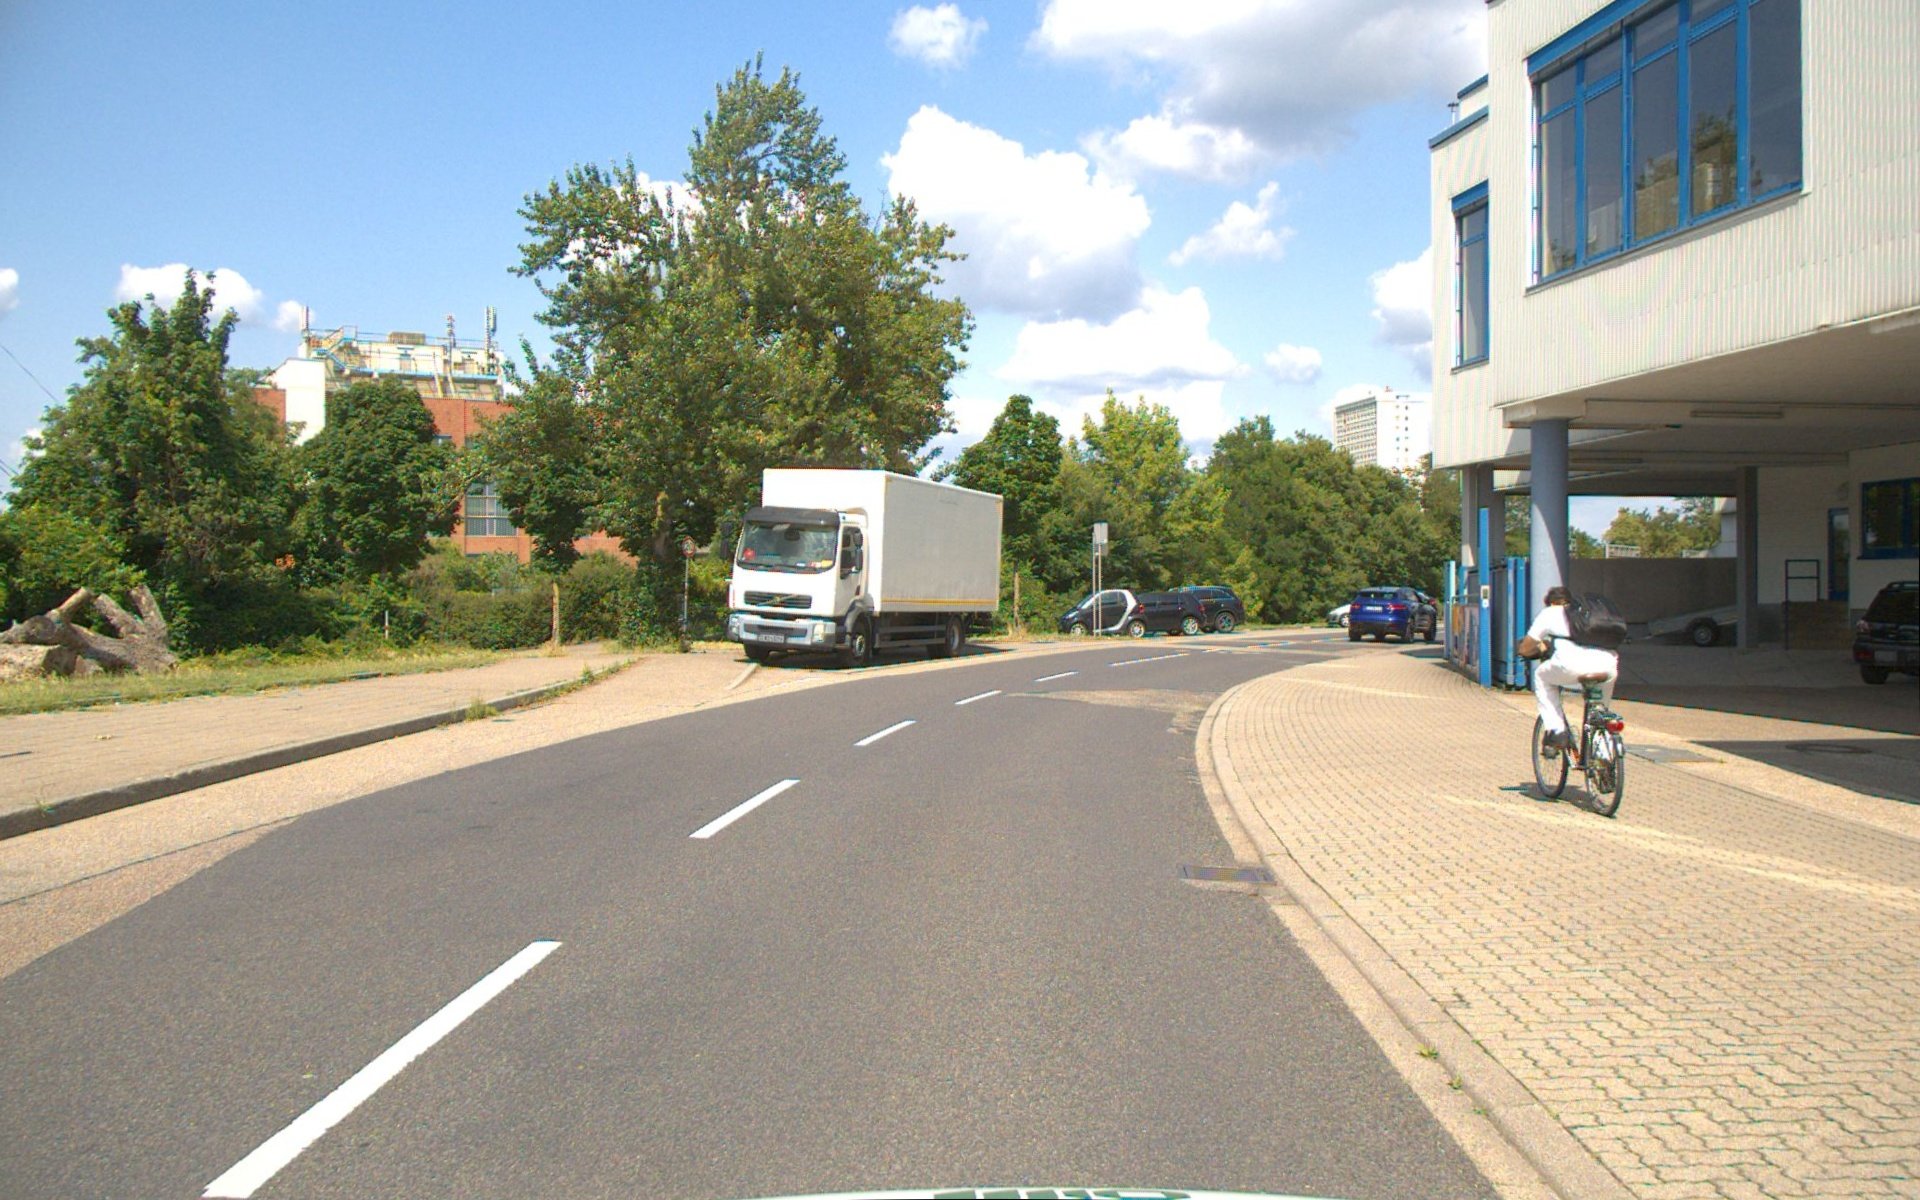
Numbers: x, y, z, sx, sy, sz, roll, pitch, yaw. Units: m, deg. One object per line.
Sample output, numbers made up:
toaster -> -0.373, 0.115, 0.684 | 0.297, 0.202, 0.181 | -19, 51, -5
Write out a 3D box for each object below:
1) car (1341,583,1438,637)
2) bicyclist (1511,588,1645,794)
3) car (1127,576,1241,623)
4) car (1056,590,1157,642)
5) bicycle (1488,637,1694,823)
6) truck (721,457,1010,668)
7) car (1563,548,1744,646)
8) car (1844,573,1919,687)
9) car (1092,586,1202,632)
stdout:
car -> 13.466, 0.304, 51.675 | 1.873, 1.621, 4.693 | 0, 0, 29
bicyclist -> 4.404, 0.625, 11.835 | 0.649, 1.422, 0.858 | 0, 0, 1
car -> 7.907, -0.014, 58.423 | 3.566, 1.597, 1.883 | 0, -1, -14
car -> 4.566, 0.514, 51.911 | 2.842, 1.597, 1.887 | 0, -1, -7
bicycle -> 4.380, 0.858, 11.658 | 0.652, 1.128, 2.168 | 0, 0, 1
truck -> -1.554, -0.742, 33.317 | 2.273, 3.629, 9.370 | 2, 1, 20
car -> 15.663, -0.061, 37.572 | 3.636, 2.049, 2.000 | 2, -1, 20
car -> 16.316, 0.442, 27.385 | 3.625, 1.687, 1.649 | -3, 3, -37
car -> 6.197, 0.282, 55.006 | 3.268, 1.501, 1.698 | 0, 0, -15
